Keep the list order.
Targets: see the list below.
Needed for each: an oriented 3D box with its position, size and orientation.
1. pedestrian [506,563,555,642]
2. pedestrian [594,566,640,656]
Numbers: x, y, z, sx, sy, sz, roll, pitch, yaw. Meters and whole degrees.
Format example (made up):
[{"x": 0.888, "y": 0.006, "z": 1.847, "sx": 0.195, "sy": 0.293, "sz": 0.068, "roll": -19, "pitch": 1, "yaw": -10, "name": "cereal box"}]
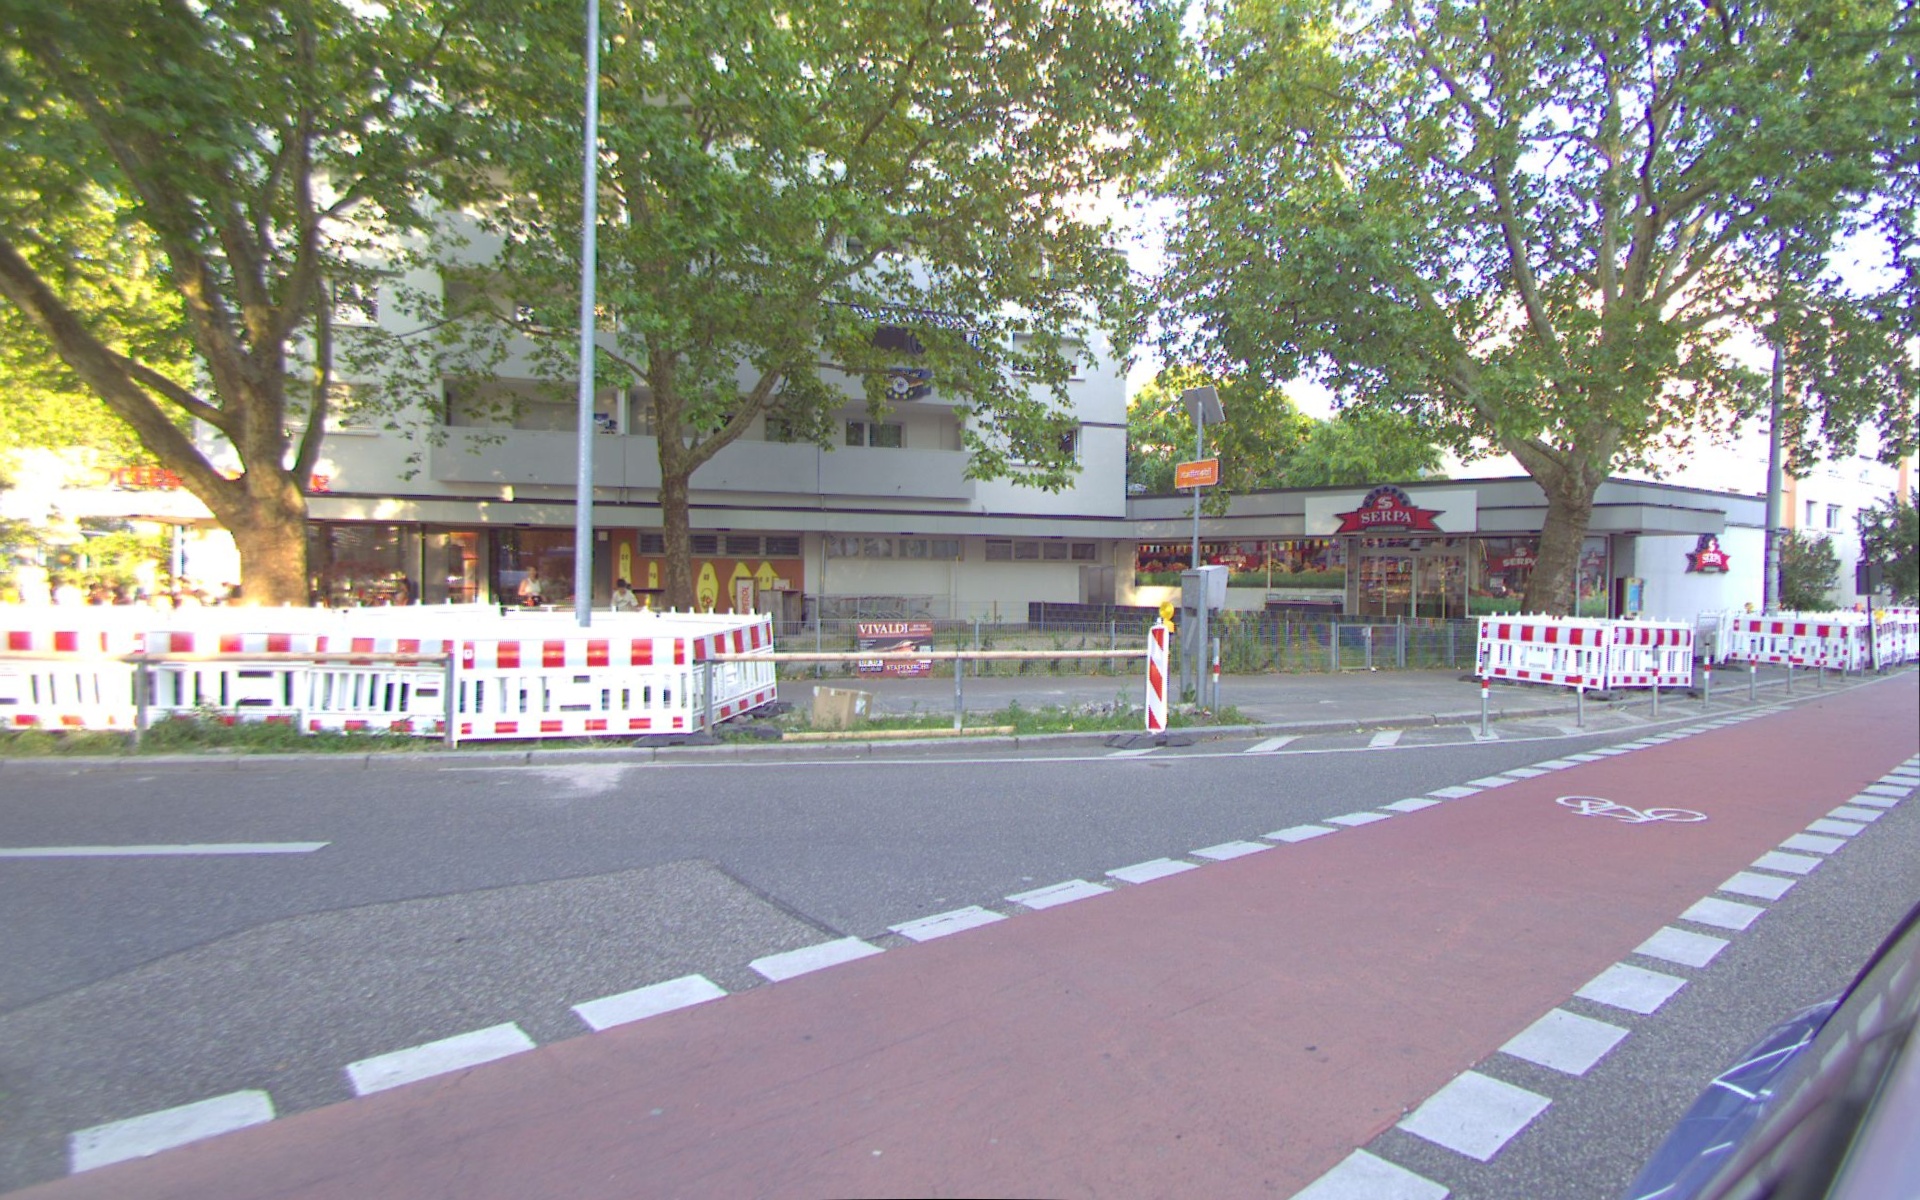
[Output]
[{"x": -8.968, "y": 0.048, "z": 21.150, "sx": 0.639, "sy": 1.608, "sz": 0.735, "roll": 0, "pitch": 1, "yaw": 43, "name": "pedestrian"}, {"x": -6.239, "y": 0.186, "z": 18.444, "sx": 0.731, "sy": 1.608, "sz": 0.643, "roll": -1, "pitch": 0, "yaw": -15, "name": "pedestrian"}]
